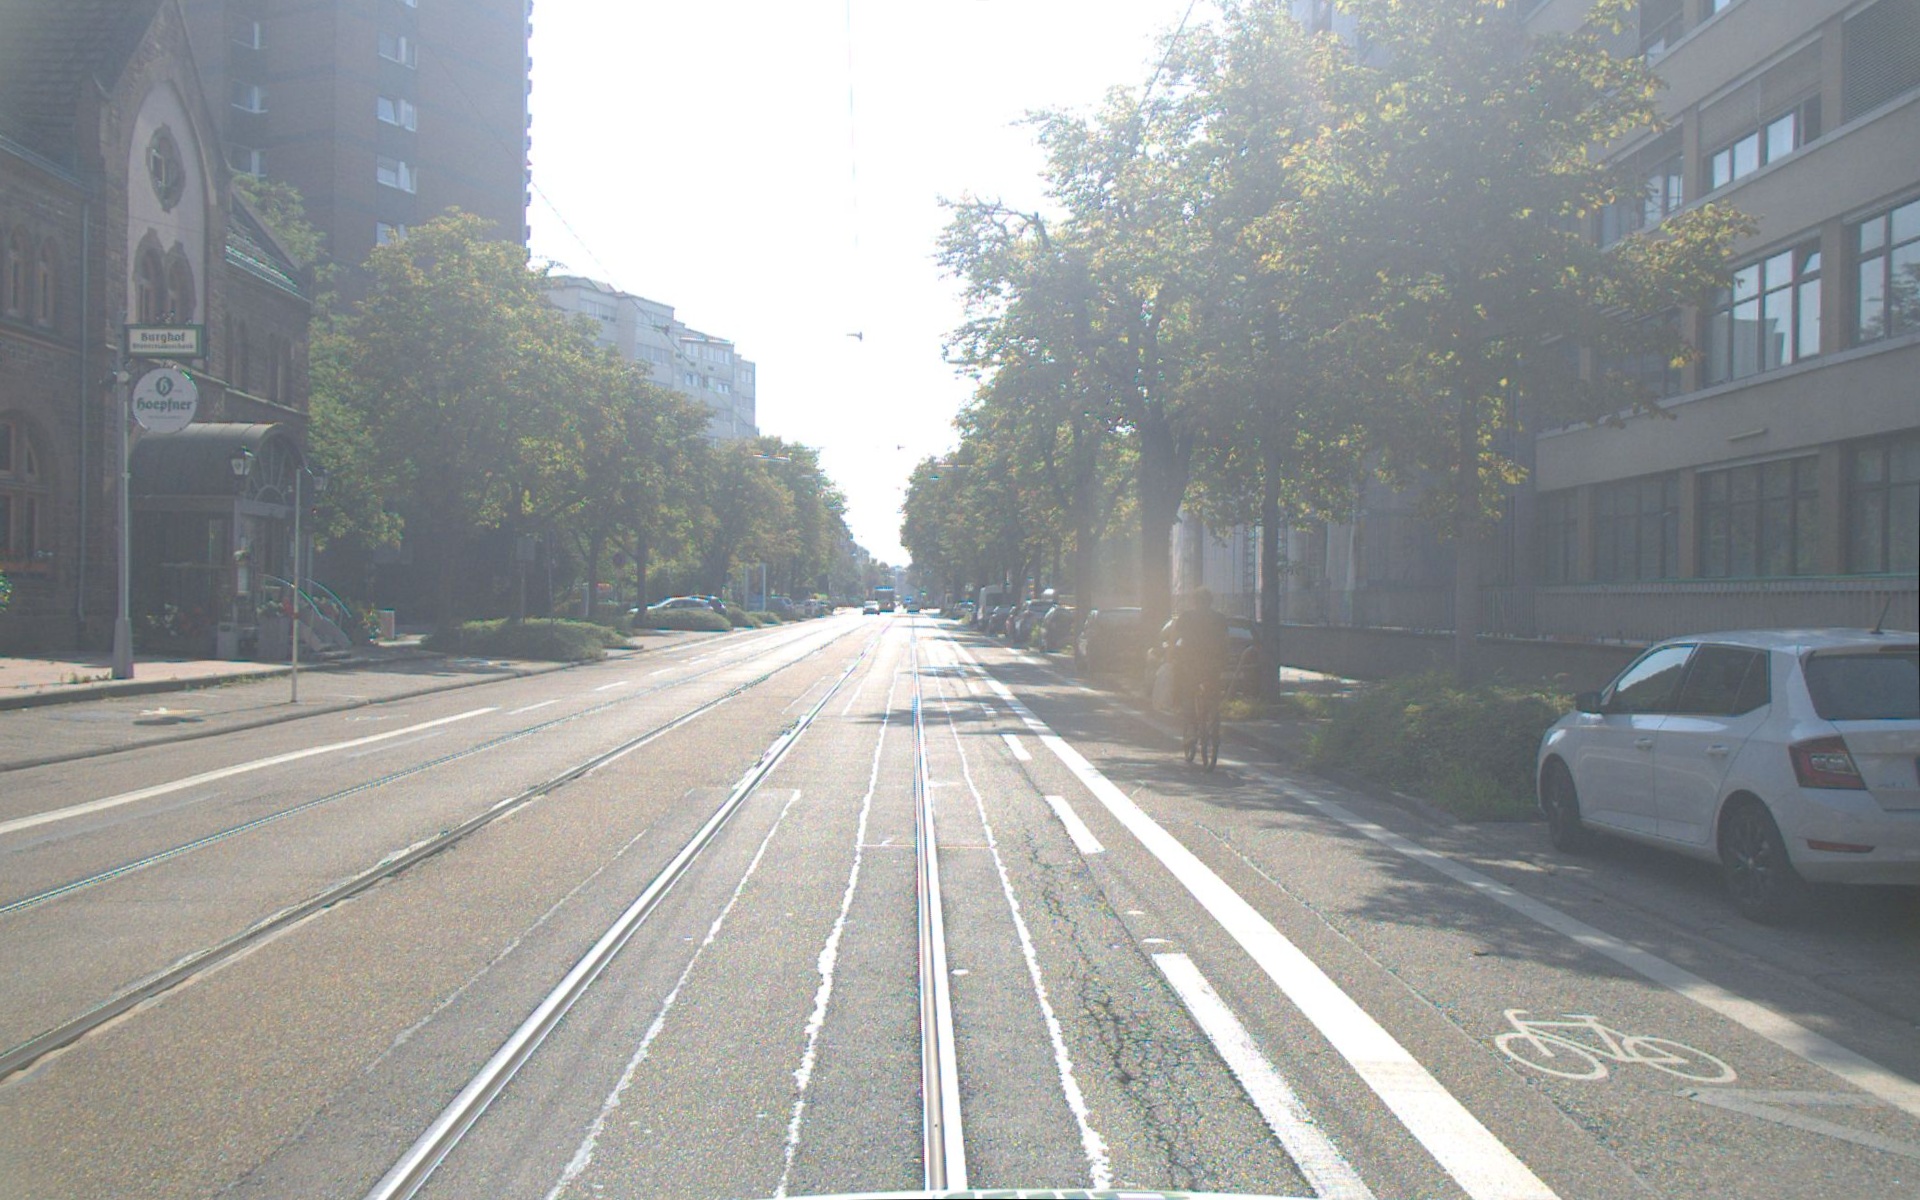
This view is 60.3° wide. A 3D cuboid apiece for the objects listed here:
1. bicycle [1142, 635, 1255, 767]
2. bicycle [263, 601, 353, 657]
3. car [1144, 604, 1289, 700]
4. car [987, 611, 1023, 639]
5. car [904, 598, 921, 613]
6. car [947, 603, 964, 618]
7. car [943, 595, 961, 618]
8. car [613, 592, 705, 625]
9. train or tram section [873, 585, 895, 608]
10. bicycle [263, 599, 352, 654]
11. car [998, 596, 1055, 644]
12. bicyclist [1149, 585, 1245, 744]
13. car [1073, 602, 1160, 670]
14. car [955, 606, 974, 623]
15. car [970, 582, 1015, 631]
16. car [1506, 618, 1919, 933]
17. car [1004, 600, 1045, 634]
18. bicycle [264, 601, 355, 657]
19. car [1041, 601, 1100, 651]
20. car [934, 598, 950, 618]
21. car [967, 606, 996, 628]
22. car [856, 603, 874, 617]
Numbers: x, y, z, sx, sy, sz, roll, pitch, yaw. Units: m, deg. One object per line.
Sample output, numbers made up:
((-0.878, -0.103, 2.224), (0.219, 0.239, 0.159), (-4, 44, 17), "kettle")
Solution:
((2.305, 0.948, 16.252), (0.771, 1.164, 2.305), (0, 0, 0), "bicycle")
((-14.554, 0.644, 36.931), (1.779, 1.093, 0.418), (6, -2, -24), "bicycle")
((4.246, 0.818, 27.893), (1.613, 1.453, 4.082), (-1, 0, -3), "car")
((2.241, 1.241, 83.761), (1.583, 1.398, 4.826), (0, 0, -1), "car")
((-5.903, 0.690, 206.718), (1.953, 1.870, 3.999), (0, 0, -1), "car")
((-0.421, 1.052, 160.205), (1.562, 1.443, 3.633), (0, 0, -1), "car")
((-0.896, 0.725, 188.429), (1.964, 2.534, 4.475), (0, -2, -1), "car")
((-14.042, 0.370, 77.191), (3.940, 1.505, 1.773), (0, 0, -27), "car")
((-10.382, -0.425, 227.517), (2.674, 2.945, 15.448), (0, -1, -2), "train or tram section")
((-14.732, 0.602, 37.358), (1.779, 1.093, 0.418), (6, -2, -24), "bicycle")
((2.502, 0.717, 62.967), (1.718, 1.721, 4.393), (1, 0, -4), "car")
((2.313, 0.614, 16.244), (0.771, 1.495, 1.116), (0, -1, 0), "bicyclist")
((3.729, 0.841, 39.899), (1.613, 1.537, 3.777), (-1, 0, -1), "car")
((0.381, 1.284, 146.538), (1.655, 1.443, 3.633), (0, 0, -1), "car")
((1.818, 0.376, 93.928), (2.041, 2.597, 5.498), (-3, 0, -3), "car")
((4.817, 0.850, 9.856), (1.607, 1.455, 3.986), (-1, 0, -3), "car")
((2.845, 0.742, 73.517), (1.584, 1.438, 3.999), (0, 0, -1), "car")
((-14.351, 0.643, 36.510), (1.779, 1.093, 0.418), (6, -2, -24), "bicycle")
((3.482, 0.794, 52.585), (1.544, 1.511, 3.737), (-1, 0, -1), "car")
((-2.350, 1.057, 214.822), (1.964, 2.518, 4.476), (0, 0, -1), "car")
((1.456, 1.143, 113.006), (1.718, 1.402, 4.717), (-1, 0, -2), "car")
((-9.997, 1.030, 173.878), (1.792, 1.400, 4.510), (0, 0, -3), "car")
